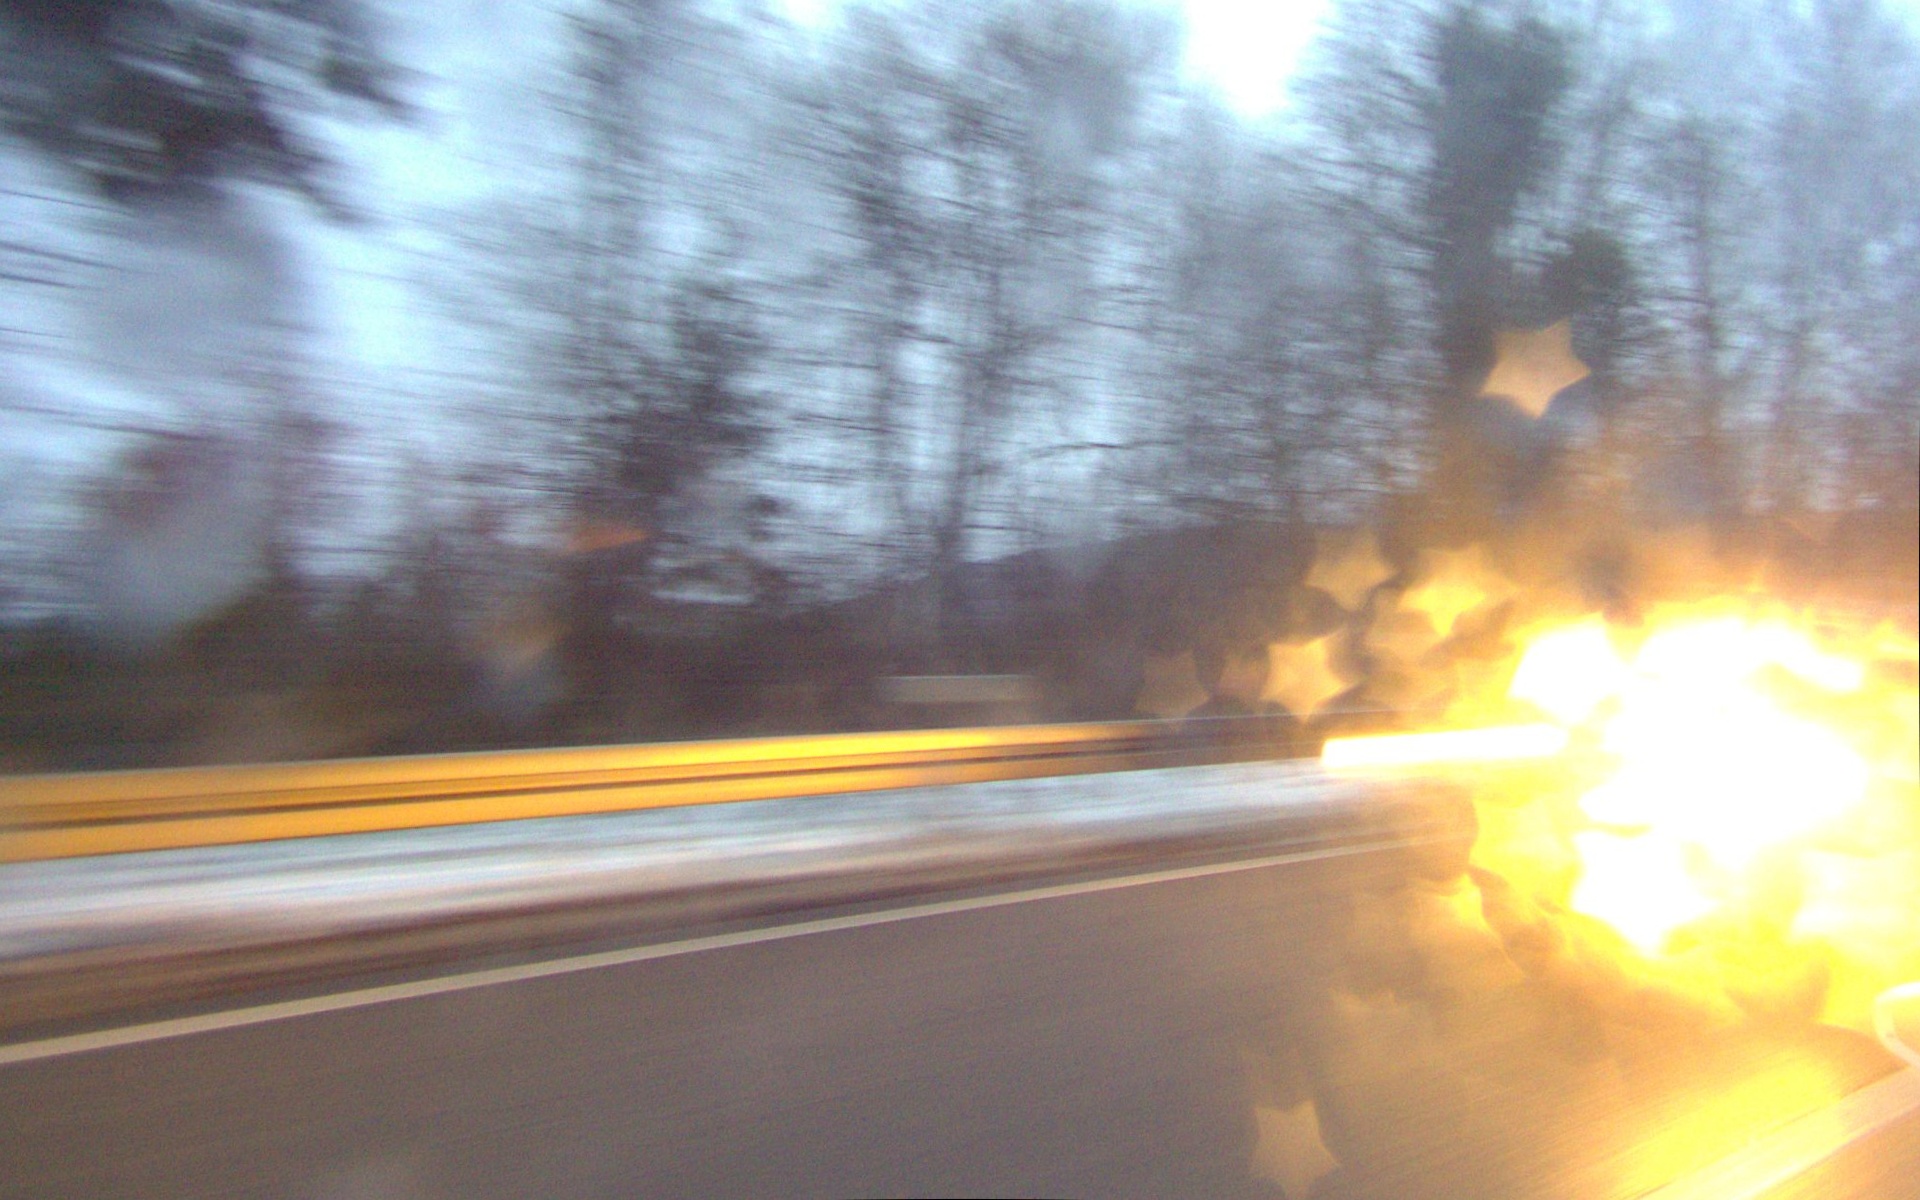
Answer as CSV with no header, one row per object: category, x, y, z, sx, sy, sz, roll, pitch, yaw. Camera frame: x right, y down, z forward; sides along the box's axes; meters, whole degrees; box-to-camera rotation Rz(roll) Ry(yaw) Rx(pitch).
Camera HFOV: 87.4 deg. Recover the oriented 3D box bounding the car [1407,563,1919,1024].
car,4.418,0.735,5.315,3.951,1.651,1.714,1,0,-29
